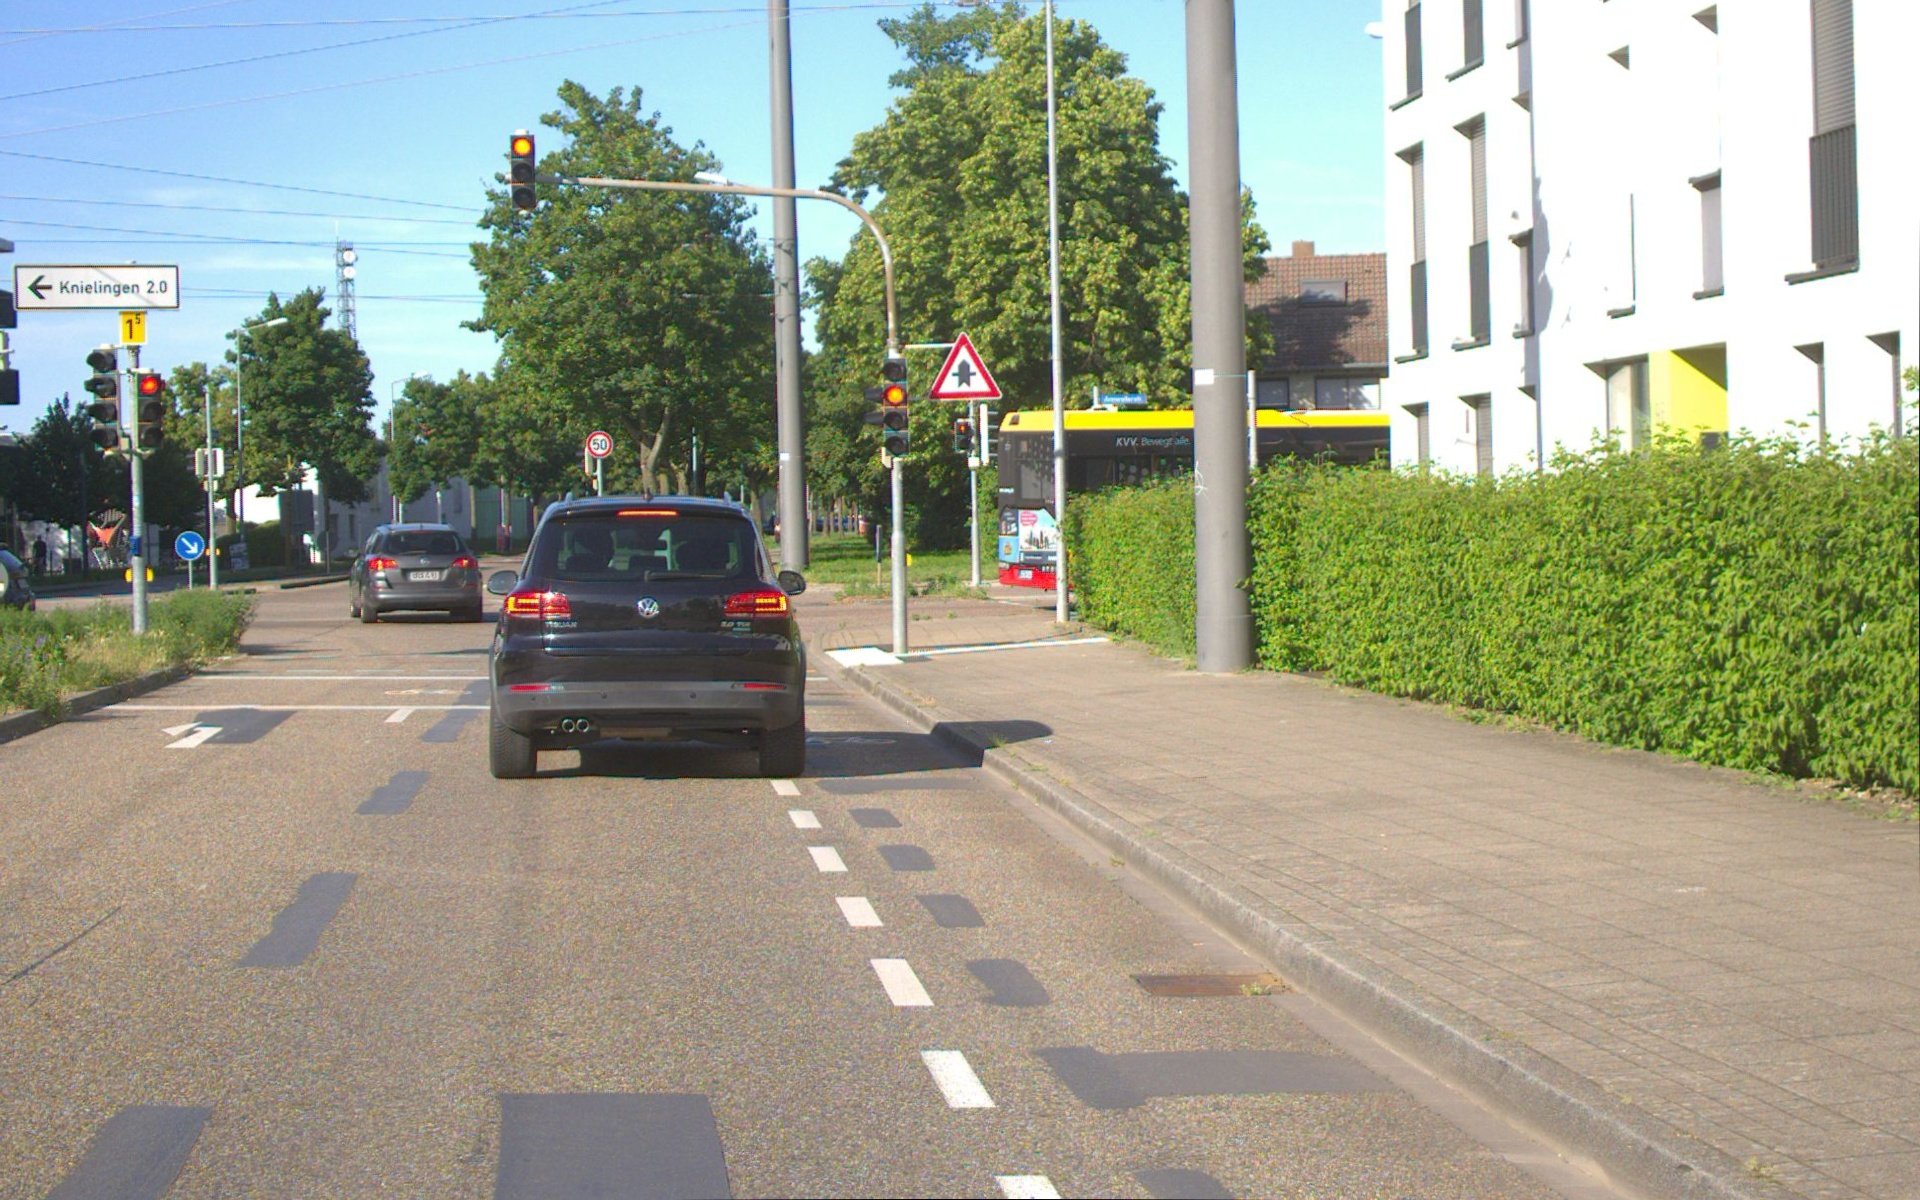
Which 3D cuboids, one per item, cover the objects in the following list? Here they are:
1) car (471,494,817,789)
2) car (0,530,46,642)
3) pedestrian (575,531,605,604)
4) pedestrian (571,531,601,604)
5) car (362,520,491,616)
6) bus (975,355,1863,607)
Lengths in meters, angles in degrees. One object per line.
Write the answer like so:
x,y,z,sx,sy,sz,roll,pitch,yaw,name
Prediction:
-1.974,0.188,21.109,1.905,1.637,4.001,0,1,-6,car
-14.065,-0.110,45.208,3.727,1.426,1.709,-3,2,-9,car
-8.353,-0.743,77.568,0.603,1.634,0.529,0,1,0,pedestrian
-8.375,-0.730,77.022,0.603,1.634,0.529,0,1,0,pedestrian
-8.041,-0.517,52.049,1.750,1.382,4.001,0,1,-6,car
7.470,-1.775,54.251,14.631,3.658,2.849,0,1,-25,bus
